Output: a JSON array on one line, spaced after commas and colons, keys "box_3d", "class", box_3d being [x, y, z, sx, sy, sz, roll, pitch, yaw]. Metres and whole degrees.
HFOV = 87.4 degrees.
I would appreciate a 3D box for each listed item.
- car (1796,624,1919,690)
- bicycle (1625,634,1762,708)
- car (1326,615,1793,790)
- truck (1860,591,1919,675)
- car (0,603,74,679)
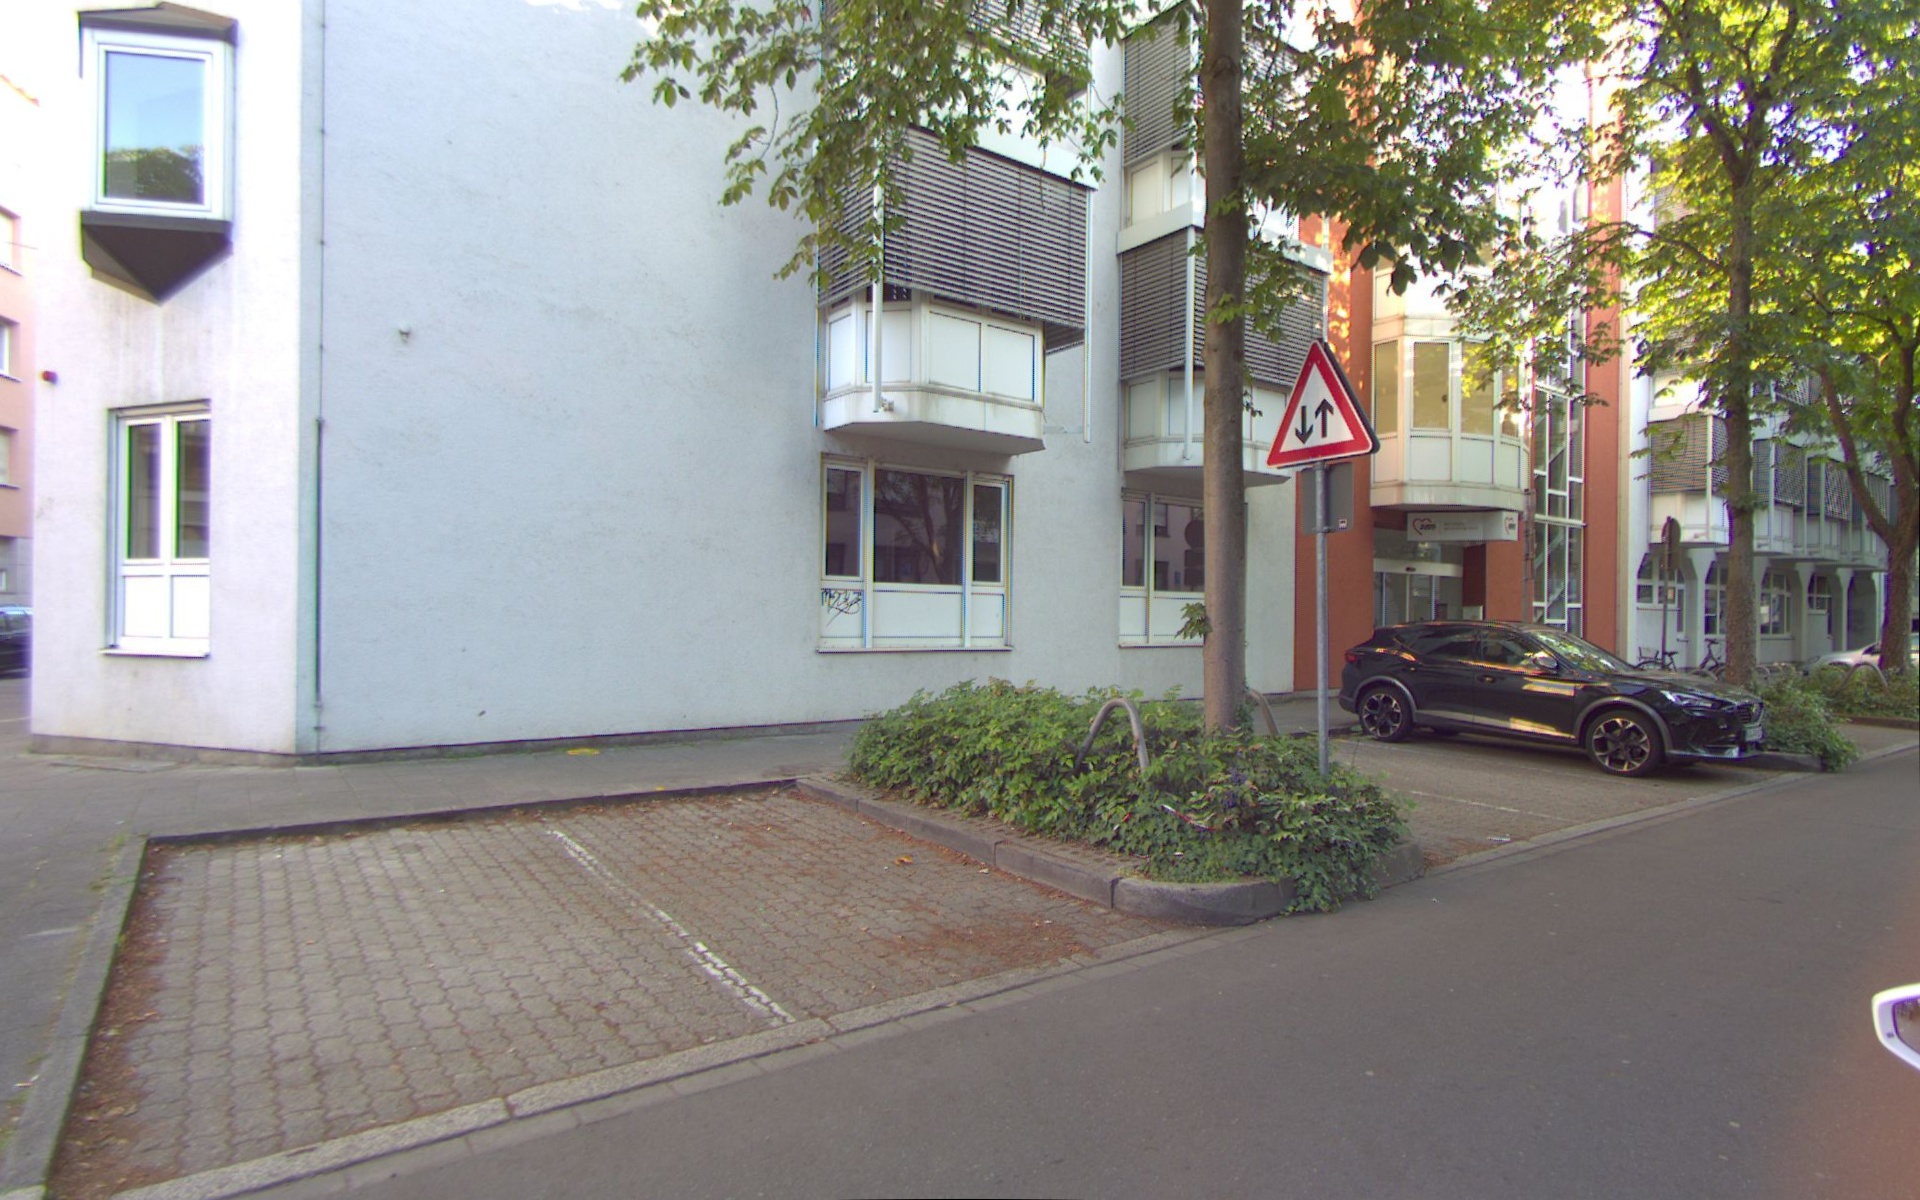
[{"box_3d": [23.124, 1.387, 24.349, 1.624, 1.491, 4.104, 1, 0, -36], "class": "car"}, {"box_3d": [13.126, 1.242, 18.020, 1.949, 1.215, 0.499, 0, -1, 44], "class": "bicycle"}, {"box_3d": [6.718, 1.004, 11.731, 1.817, 1.529, 4.326, 1, 0, -36], "class": "car"}, {"box_3d": [29.758, 0.991, 29.254, 1.896, 2.474, 4.967, 0, 1, -34], "class": "truck"}, {"box_3d": [-20.298, 0.828, 20.359, 1.666, 1.534, 4.272, 0, -1, -14], "class": "car"}]
